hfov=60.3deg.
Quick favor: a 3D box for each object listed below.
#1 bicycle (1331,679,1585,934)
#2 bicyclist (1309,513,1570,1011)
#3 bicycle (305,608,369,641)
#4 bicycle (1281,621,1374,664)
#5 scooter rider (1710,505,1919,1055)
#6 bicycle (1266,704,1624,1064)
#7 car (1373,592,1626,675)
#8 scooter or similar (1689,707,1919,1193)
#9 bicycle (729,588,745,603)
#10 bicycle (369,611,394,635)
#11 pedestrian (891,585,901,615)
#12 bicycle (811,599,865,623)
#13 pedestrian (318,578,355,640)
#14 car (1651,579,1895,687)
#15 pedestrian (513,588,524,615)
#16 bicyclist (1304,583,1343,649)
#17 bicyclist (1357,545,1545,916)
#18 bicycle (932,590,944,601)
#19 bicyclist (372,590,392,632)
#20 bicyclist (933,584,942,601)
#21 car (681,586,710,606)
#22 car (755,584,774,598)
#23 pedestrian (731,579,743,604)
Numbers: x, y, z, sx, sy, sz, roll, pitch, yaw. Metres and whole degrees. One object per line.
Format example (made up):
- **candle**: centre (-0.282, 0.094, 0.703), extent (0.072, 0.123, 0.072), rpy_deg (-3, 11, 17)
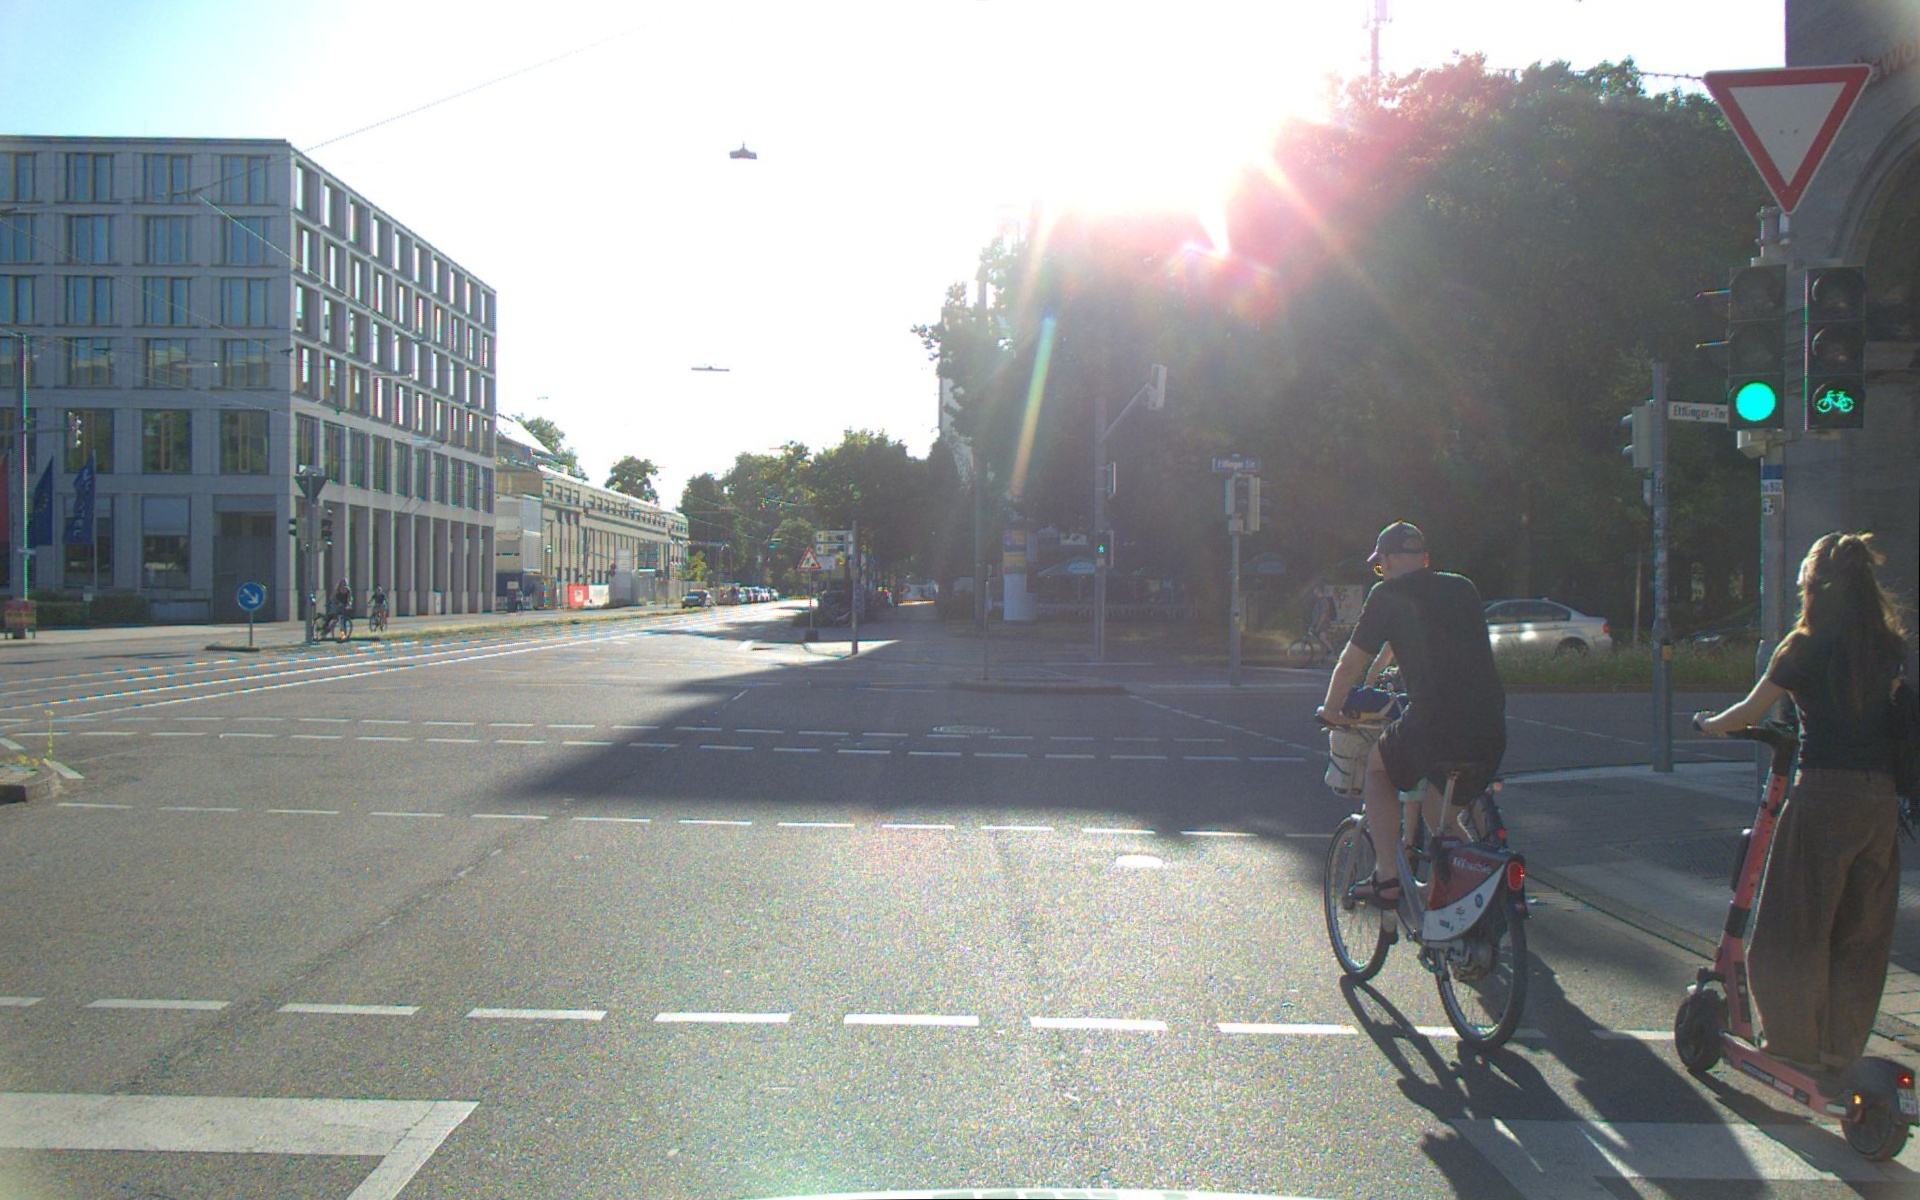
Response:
- **bicycle**: centre (2.471, 0.982, 8.418), extent (0.571, 1.062, 1.744), rpy_deg (0, 0, -8)
- **bicyclist**: centre (1.796, 0.563, 6.300), extent (0.612, 1.745, 0.910), rpy_deg (0, 0, -10)
- **bicycle**: centre (-16.362, 0.637, 43.437), extent (1.679, 0.837, 0.573), rpy_deg (0, 0, 27)
- **bicycle**: centre (8.062, 0.919, 36.330), extent (1.902, 0.905, 0.718), rpy_deg (1, -1, 5)
- **scooter rider**: centre (2.712, 0.522, 5.089), extent (0.534, 1.590, 0.576), rpy_deg (0, -1, -3)
- **bicycle**: centre (1.777, 0.991, 6.361), extent (0.612, 1.062, 1.743), rpy_deg (0, 0, -10)
- **car**: centre (10.876, 0.667, 33.569), extent (4.483, 1.543, 2.000), rpy_deg (1, 0, -1)
- **scooter or similar**: centre (2.720, 0.940, 4.893), extent (0.561, 1.170, 1.272), rpy_deg (0, -1, 0)
- **bicycle**: centre (-18.822, -0.334, 139.659), extent (0.735, 1.226, 3.109), rpy_deg (1, 0, 5)
- **bicycle**: centre (-21.101, 0.842, 60.364), extent (0.484, 0.854, 1.156), rpy_deg (0, 0, 2)
- **pedestrian**: centre (-3.763, 0.002, 97.277), extent (0.566, 1.719, 0.584), rpy_deg (0, 0, -8)
- **bicycle**: centre (-4.942, 0.449, 66.977), extent (2.201, 0.956, 0.653), rpy_deg (0, 0, -6)
- **pedestrian**: centre (-16.383, 0.239, 43.447), extent (0.727, 1.623, 0.573), rpy_deg (0, 0, 26)
- **car**: centre (16.255, 0.650, 33.221), extent (3.905, 2.049, 2.000), rpy_deg (1, 0, 0)
- **pedestrian**: centre (-31.396, 0.114, 117.586), extent (0.576, 1.922, 0.478), rpy_deg (1, -1, -1)
- **bicyclist**: centre (7.984, 0.344, 36.337), extent (0.731, 1.431, 0.702), rpy_deg (1, -1, 6)
- **bicyclist**: centre (2.471, 0.621, 8.406), extent (0.573, 1.769, 0.948), rpy_deg (0, 0, -8)
- **bicycle**: centre (-2.693, -0.531, 200.077), extent (0.875, 1.240, 2.785), rpy_deg (1, 0, -12)
- **bicyclist**: centre (-21.100, 0.383, 60.387), extent (0.484, 1.525, 0.666), rpy_deg (0, 0, 2)
- **bicyclist**: centre (-2.699, -0.955, 200.190), extent (0.875, 2.049, 0.746), rpy_deg (1, -1, -12)
- **car**: centre (-21.610, -0.353, 135.281), extent (1.954, 1.627, 3.997), rpy_deg (0, 0, -3)
- **car**: centre (-22.970, -1.042, 194.215), extent (1.954, 1.673, 3.997), rpy_deg (0, 0, -4)
- **pedestrian**: centre (-18.816, -0.747, 139.728), extent (0.735, 2.099, 1.050), rpy_deg (1, -1, 5)
